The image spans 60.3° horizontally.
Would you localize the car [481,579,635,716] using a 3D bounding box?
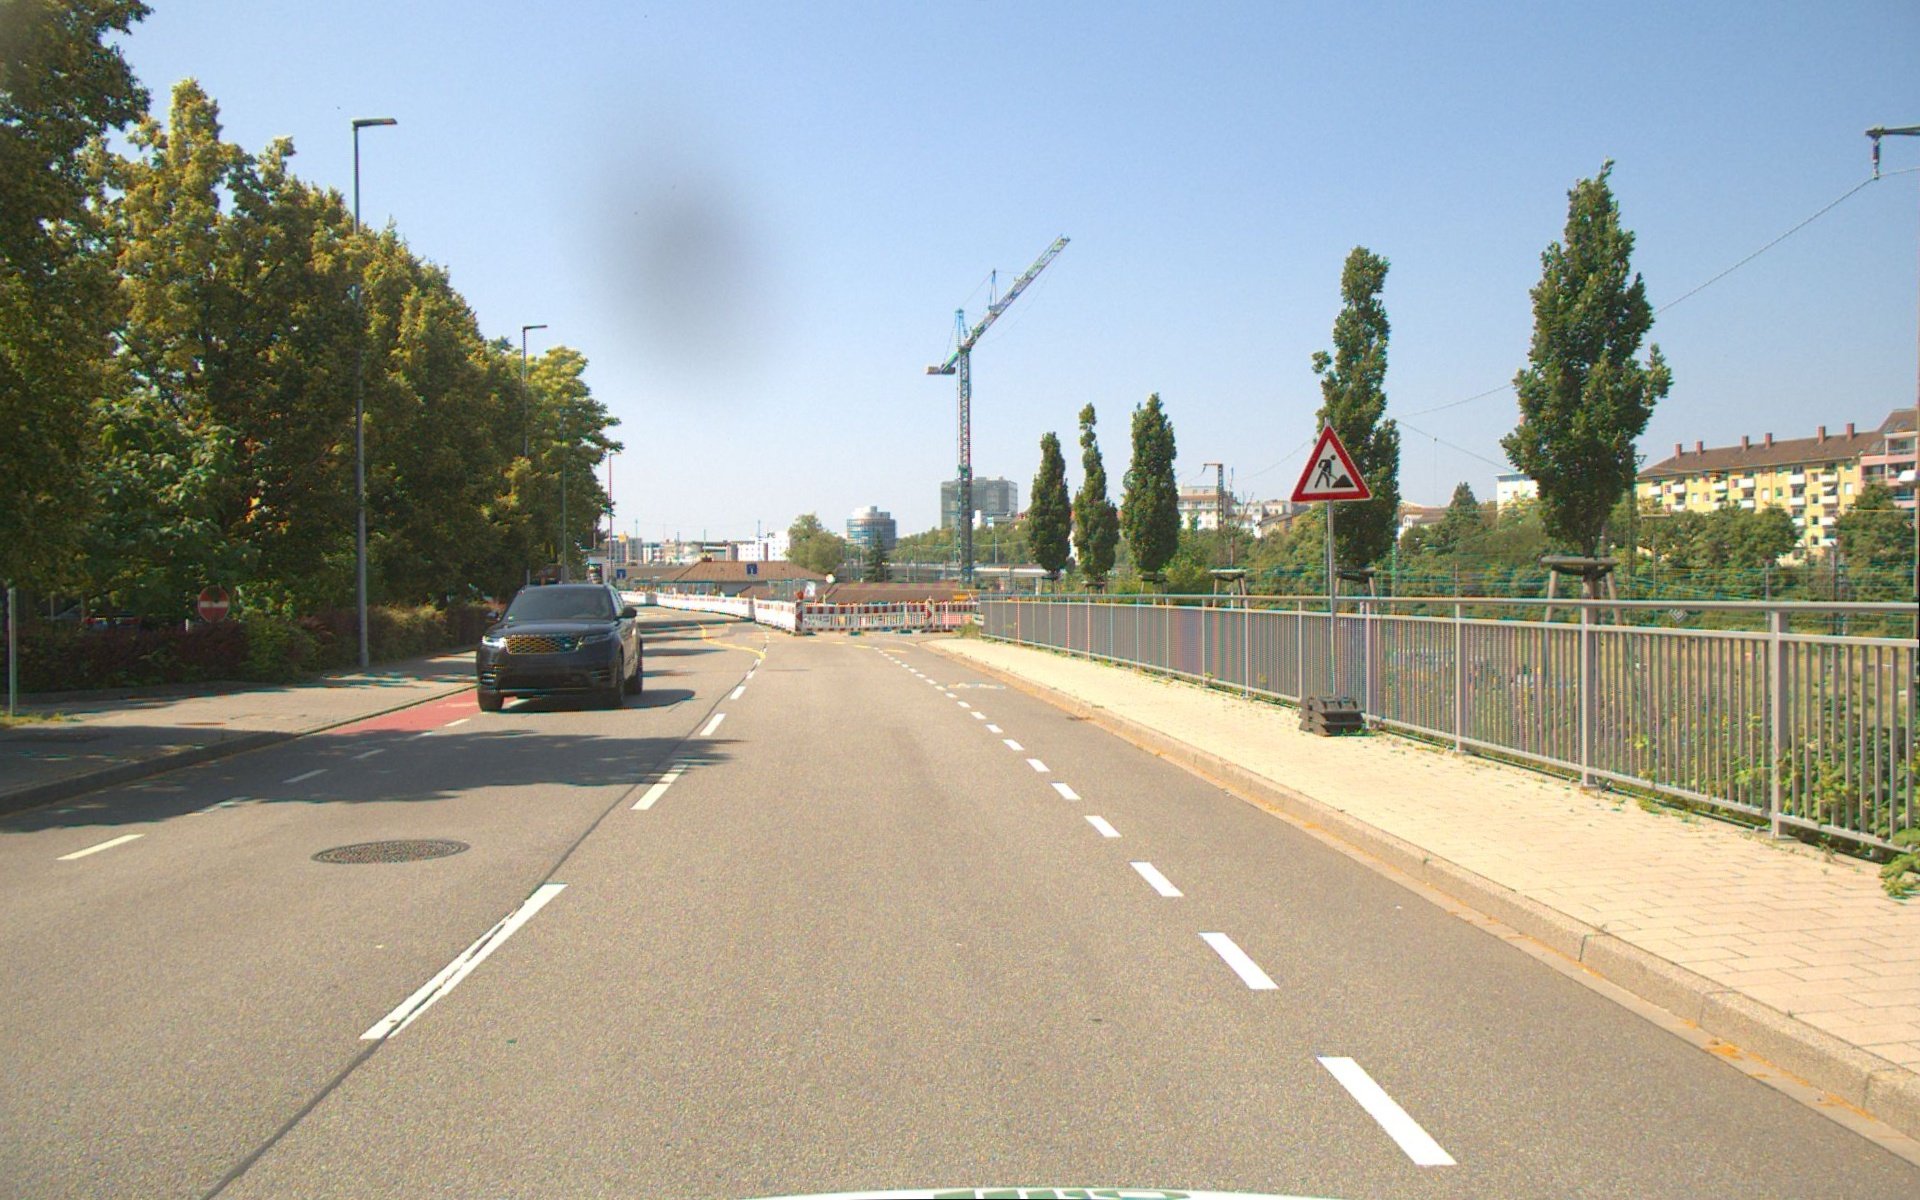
[{"bbox_3d":[-5.655,0.581,23.727,1.915,1.725,4.600,-1,1,-11],"label":"car"}]
